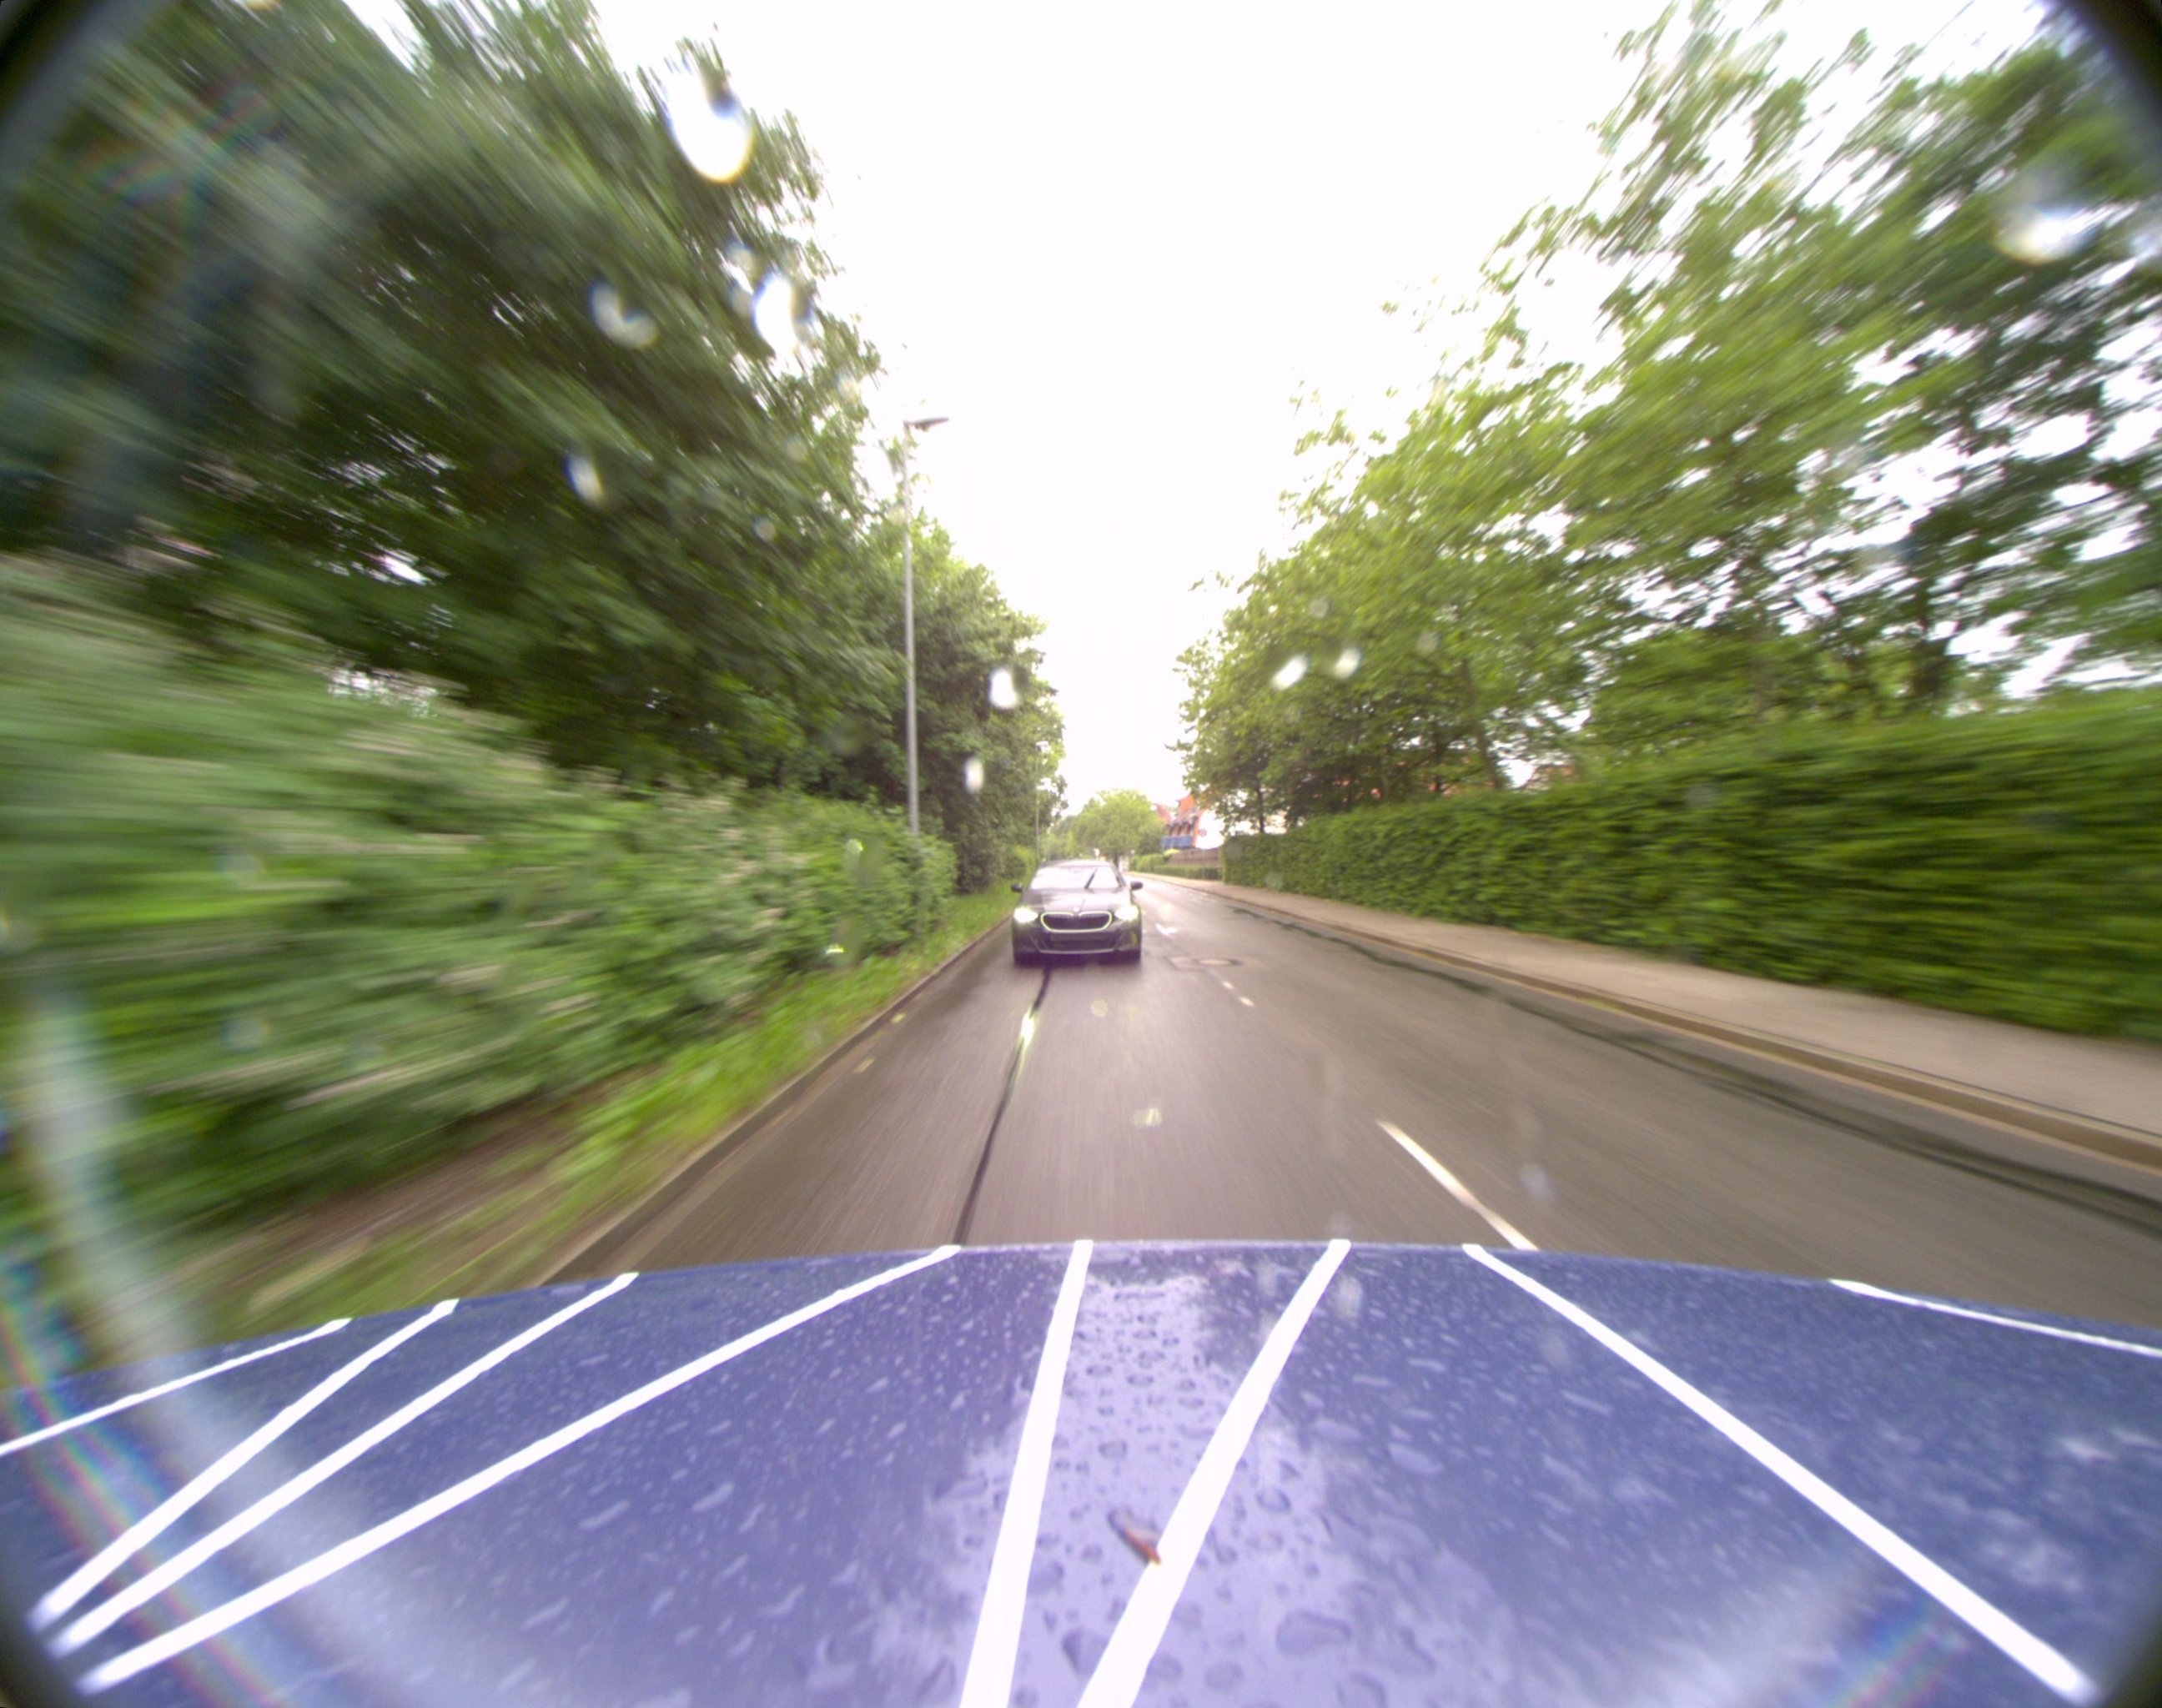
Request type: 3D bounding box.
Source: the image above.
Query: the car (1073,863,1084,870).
[{"bbox_3d":[-0.528,2.450,151.232,1.999,1.411,4.485,1,-1,-2],"label":"car"}]

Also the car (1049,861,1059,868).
[{"bbox_3d":[-6.245,2.451,175.076,2.000,1.420,4.387,4,-3,-6],"label":"car"}]

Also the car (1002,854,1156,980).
[{"bbox_3d":[-0.213,0.891,12.340,1.999,1.586,4.146,-3,-1,-6],"label":"car"}]

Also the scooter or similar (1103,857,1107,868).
[{"bbox_3d":[4.269,1.507,135.034,0.402,1.765,1.511,-2,1,-10],"label":"scooter or similar"}]
